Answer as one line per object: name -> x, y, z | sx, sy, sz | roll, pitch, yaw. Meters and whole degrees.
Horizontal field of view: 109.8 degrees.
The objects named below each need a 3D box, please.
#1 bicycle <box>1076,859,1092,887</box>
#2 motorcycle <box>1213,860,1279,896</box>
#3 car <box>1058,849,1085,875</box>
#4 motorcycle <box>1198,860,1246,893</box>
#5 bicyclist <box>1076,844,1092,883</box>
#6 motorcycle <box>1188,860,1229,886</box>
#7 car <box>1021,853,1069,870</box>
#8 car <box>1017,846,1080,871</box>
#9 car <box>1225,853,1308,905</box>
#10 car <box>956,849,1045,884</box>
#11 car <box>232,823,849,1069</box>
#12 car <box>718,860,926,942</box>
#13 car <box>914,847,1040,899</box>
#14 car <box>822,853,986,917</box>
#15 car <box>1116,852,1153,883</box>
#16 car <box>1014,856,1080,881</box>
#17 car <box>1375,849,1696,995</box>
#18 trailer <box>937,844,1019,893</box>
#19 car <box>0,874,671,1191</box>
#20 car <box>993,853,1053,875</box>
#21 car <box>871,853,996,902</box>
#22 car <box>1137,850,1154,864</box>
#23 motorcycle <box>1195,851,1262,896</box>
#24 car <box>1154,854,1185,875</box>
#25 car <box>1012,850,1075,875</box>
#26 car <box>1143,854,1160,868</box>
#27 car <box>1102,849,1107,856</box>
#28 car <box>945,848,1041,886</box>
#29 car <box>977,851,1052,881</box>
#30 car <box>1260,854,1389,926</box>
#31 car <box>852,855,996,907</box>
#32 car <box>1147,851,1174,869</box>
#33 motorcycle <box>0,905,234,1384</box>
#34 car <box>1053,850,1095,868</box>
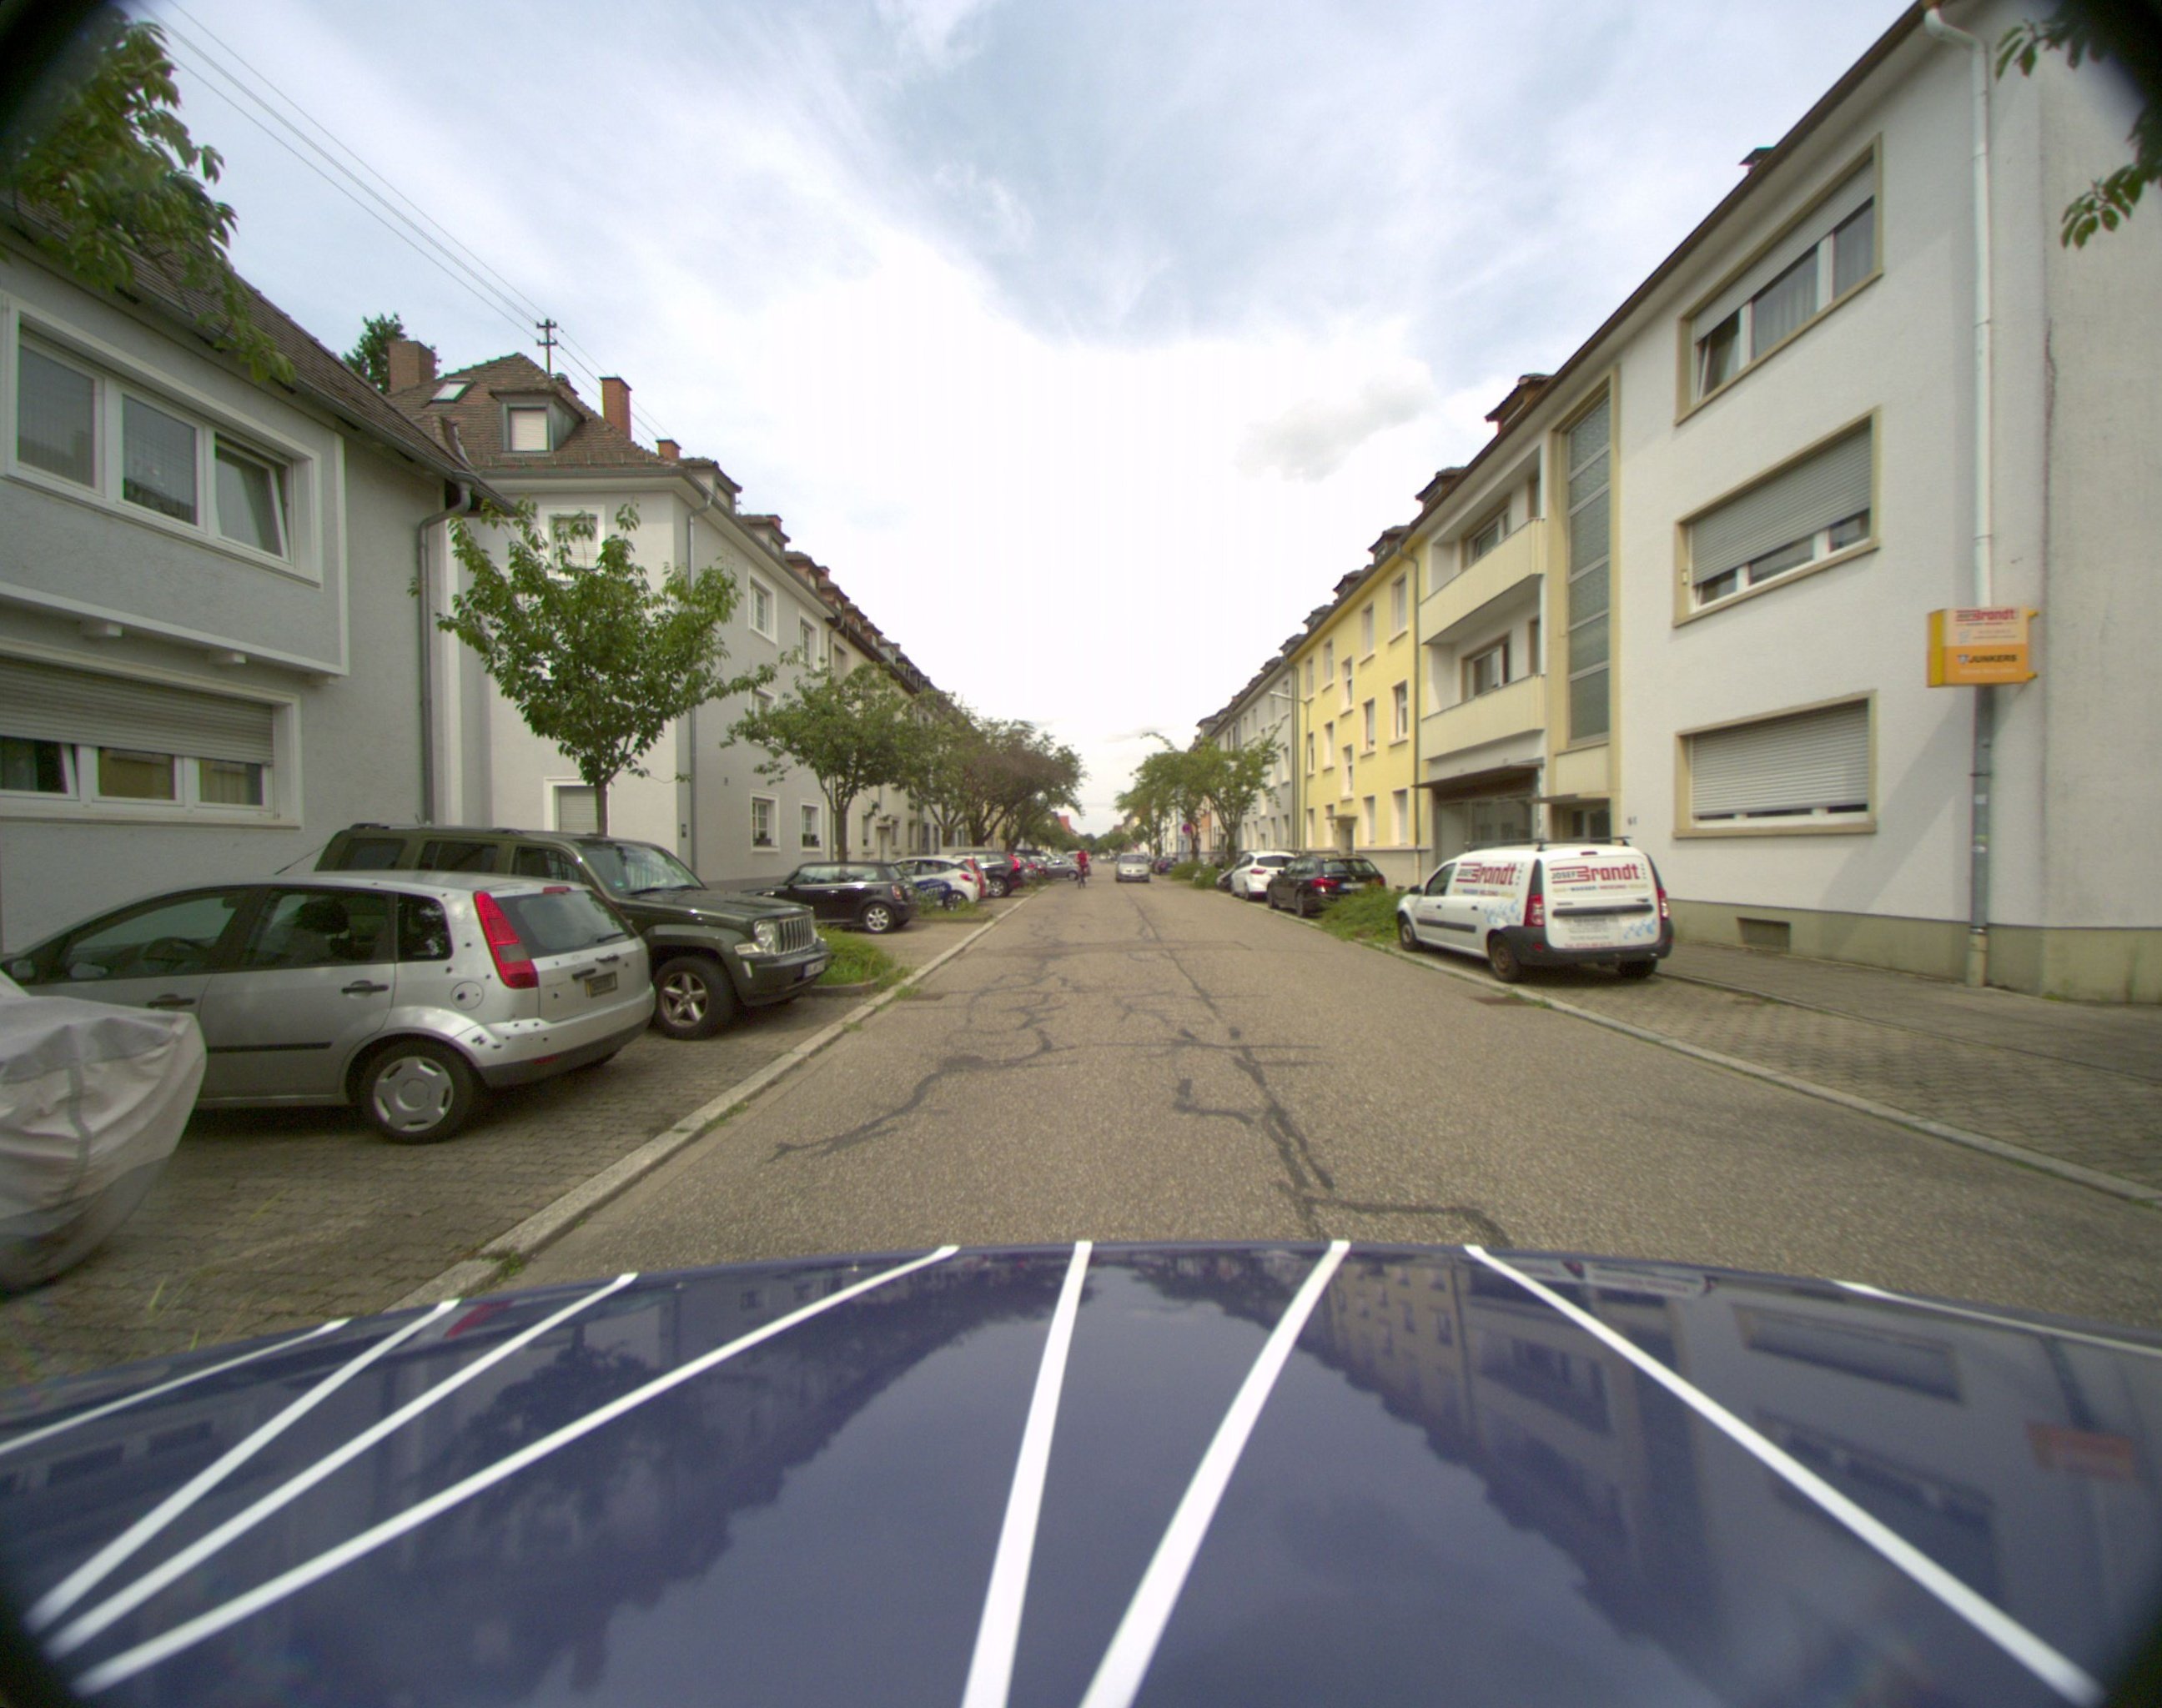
bicycle -> 0.161, 0.846, 34.842 | 0.693, 1.220, 1.937 | -1, 1, 1
motorcycle -> 6.559, 0.940, 30.334 | 2.450, 1.303, 0.645 | 2, 1, 26
car -> -0.727, 0.575, 58.959 | 1.999, 1.904, 4.703 | -2, 1, -1
motorcycle -> 6.537, 1.063, 35.161 | 2.242, 1.473, 0.595 | 1, 1, -25
bicyclist -> 0.161, 0.439, 34.881 | 0.694, 1.760, 0.986 | -1, 1, 1
motorcycle -> 6.145, 0.918, 36.686 | 1.915, 1.185, 0.595 | 1, 1, -25
car -> -3.431, 0.746, 73.712 | 4.559, 1.501, 1.850 | 2, 1, -1
car -> -2.733, 0.361, 64.402 | 5.244, 2.011, 2.073 | 2, 1, -3
car -> 6.033, 0.745, 25.169 | 1.761, 1.547, 4.256 | 0, 1, 1
car -> -3.955, 0.615, 38.058 | 4.226, 1.588, 1.903 | 2, 1, -1
car -> -4.736, 0.721, 7.075 | 4.535, 1.847, 1.793 | 2, 1, 4
car -> -5.127, 0.905, 15.379 | 3.552, 1.444, 1.809 | 2, 1, 1
car -> -3.728, 0.659, 27.691 | 4.224, 1.726, 1.904 | 2, 1, 3
car -> -4.658, 0.798, 20.434 | 3.998, 1.521, 1.767 | 2, 1, -2
car -> 2.923, 0.692, 42.191 | 1.788, 1.595, 4.836 | 0, 0, 1
car -> -2.099, 0.890, 47.510 | 3.997, 1.446, 1.766 | 2, 1, 1
car -> 5.899, 0.743, 10.646 | 1.923, 1.572, 4.382 | 2, 1, 2
trailer -> -4.069, 0.564, 30.216 | 2.967, 1.821, 1.401 | 2, 1, 5
car -> -4.801, 0.920, 4.613 | 3.635, 1.446, 1.772 | 2, 1, -3
car -> -3.991, 0.690, 52.752 | 3.997, 1.412, 1.638 | 2, 1, 1
car -> -4.856, 0.756, 25.405 | 3.756, 1.433, 1.865 | 2, 1, 2
car -> 7.750, 0.371, 91.488 | 1.697, 1.573, 4.248 | -1, 1, 0
motorcycle -> 5.681, 0.717, 29.344 | 0.941, 1.666, 2.467 | 0, 0, -42
car -> 6.884, 0.805, 59.357 | 1.841, 1.475, 4.120 | -3, 1, -1
car -> -2.424, 0.548, 50.017 | 3.997, 1.527, 1.638 | 2, 1, 1
car -> 7.836, 0.738, 84.962 | 1.706, 1.533, 4.250 | 0, 0, 3
car -> 7.411, -0.587, 240.016 | 1.757, 2.098, 3.621 | 2, 1, 1
car -> -4.038, 0.592, 35.326 | 4.226, 1.588, 1.903 | 2, 1, -1
car -> -3.940, 0.699, 45.507 | 4.224, 1.668, 1.904 | 2, 1, 3
car -> 5.886, 0.792, 19.009 | 1.795, 1.483, 4.812 | -1, 1, 2
car -> -4.680, 0.797, 23.041 | 3.998, 1.402, 1.767 | 2, 1, -2
car -> 6.849, 0.500, 65.719 | 1.841, 1.475, 4.093 | -2, 1, -1
motorcycle -> -4.756, 0.941, 2.480 | 2.708, 1.455, 1.031 | 0, 1, -3
car -> -0.749, 0.574, 87.897 | 4.750, 1.899, 1.850 | 2, 1, 1
